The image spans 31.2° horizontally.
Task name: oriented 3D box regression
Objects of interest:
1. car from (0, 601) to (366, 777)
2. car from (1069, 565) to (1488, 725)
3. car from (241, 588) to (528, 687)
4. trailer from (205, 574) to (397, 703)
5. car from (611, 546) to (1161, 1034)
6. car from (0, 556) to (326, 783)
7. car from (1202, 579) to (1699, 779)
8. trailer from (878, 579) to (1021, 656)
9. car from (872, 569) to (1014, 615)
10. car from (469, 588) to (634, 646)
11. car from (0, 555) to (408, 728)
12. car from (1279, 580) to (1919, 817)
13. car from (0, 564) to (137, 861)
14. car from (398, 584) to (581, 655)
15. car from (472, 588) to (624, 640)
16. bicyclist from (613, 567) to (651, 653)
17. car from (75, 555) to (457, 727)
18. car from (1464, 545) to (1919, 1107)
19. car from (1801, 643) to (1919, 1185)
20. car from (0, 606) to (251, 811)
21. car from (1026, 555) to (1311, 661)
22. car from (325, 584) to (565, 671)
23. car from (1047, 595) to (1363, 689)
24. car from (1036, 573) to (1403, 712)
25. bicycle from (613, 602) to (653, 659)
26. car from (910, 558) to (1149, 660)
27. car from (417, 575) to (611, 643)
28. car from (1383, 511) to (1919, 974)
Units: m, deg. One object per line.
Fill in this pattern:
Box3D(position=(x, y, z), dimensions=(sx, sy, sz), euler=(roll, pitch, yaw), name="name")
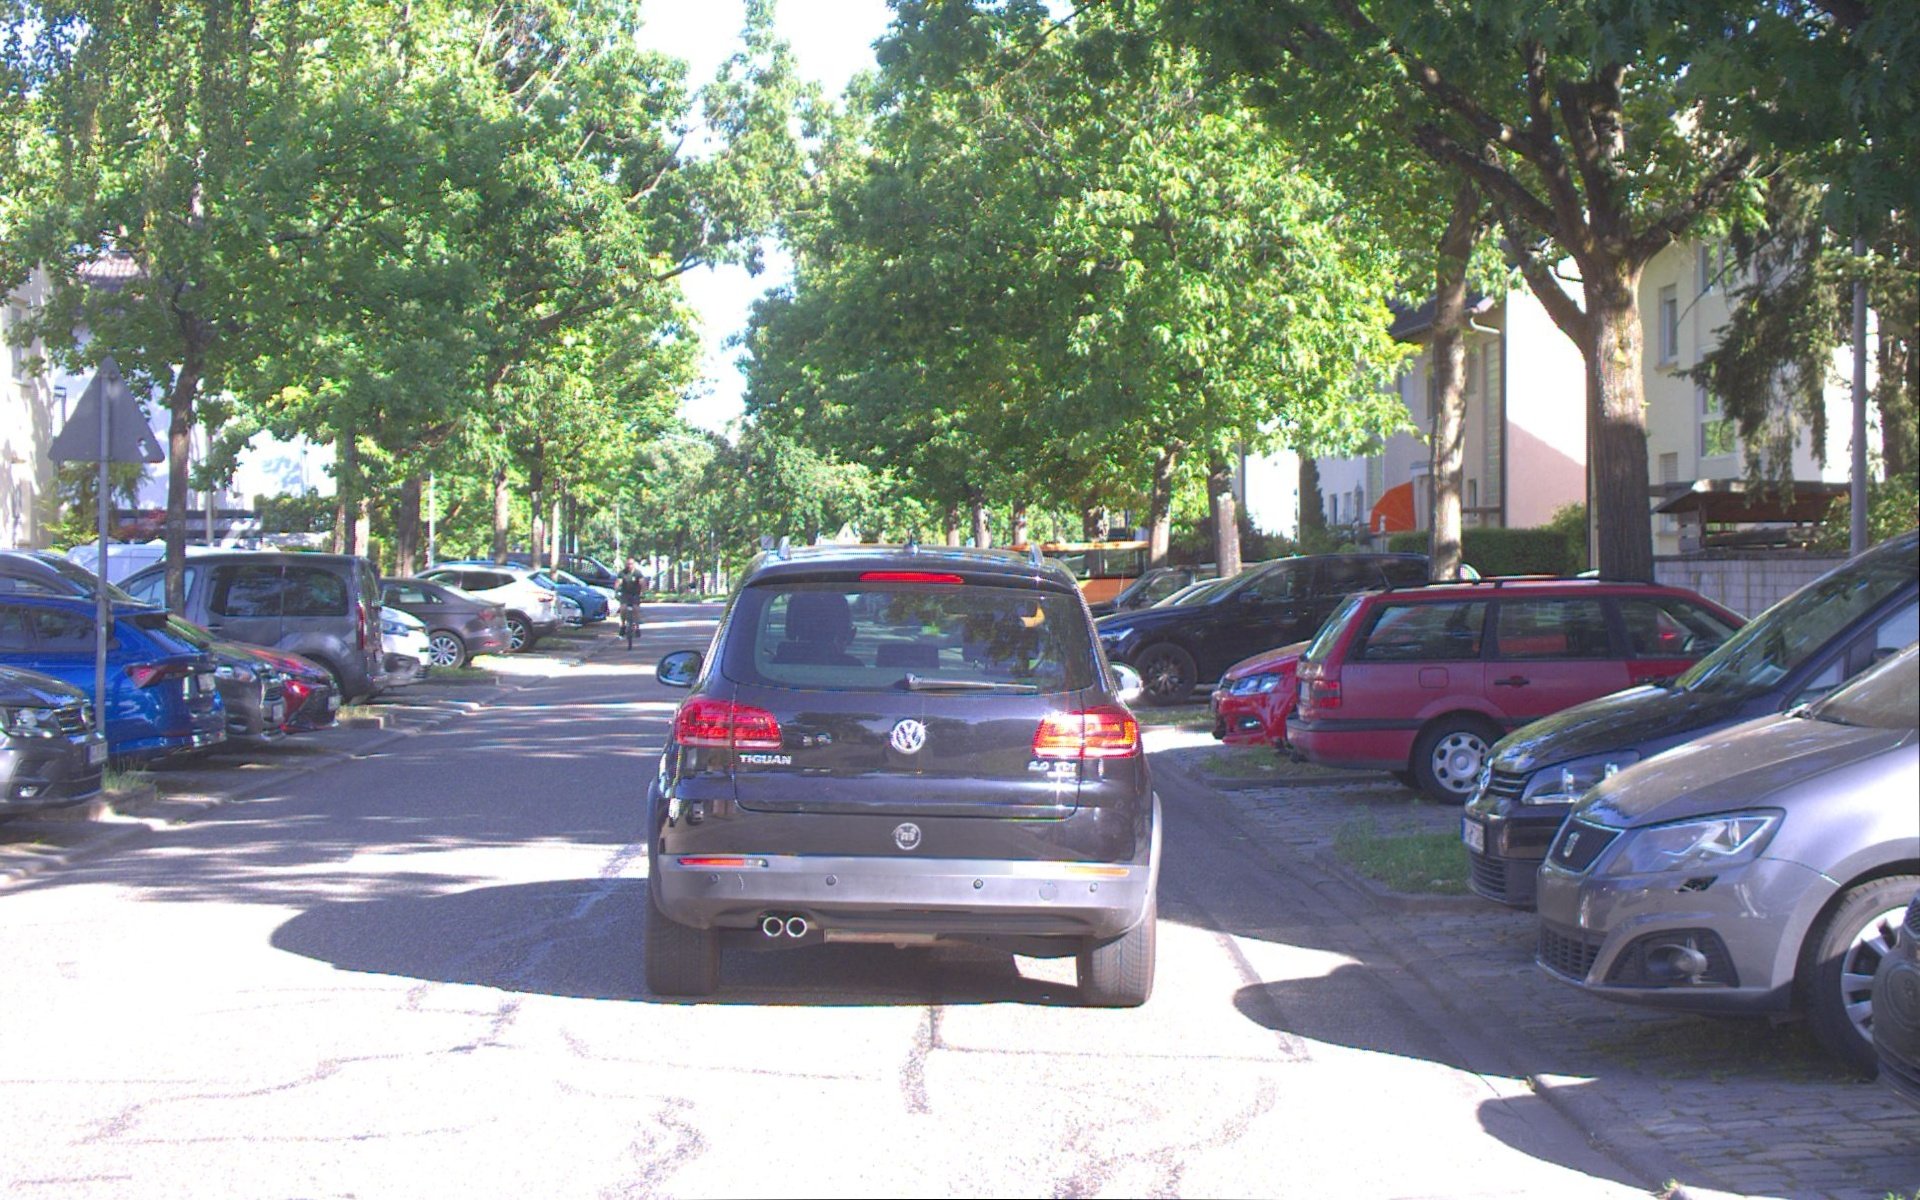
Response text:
Box3D(position=(-7.691, 0.782, 30.930), dimensions=(4.476, 1.494, 1.837), euler=(-1, 0, -5), name="car")
Box3D(position=(3.637, 0.502, 39.793), dimensions=(4.573, 1.641, 1.838), euler=(-2, 1, -2), name="car")
Box3D(position=(-8.841, 0.568, 53.072), dimensions=(4.210, 1.466, 1.691), euler=(0, 0, -3), name="car")
Box3D(position=(-8.762, 0.499, 45.805), dimensions=(2.236, 1.668, 1.474), euler=(0, 1, 2), name="trailer")
Box3D(position=(-0.298, 0.632, 13.547), dimensions=(1.838, 1.631, 3.958), euler=(0, 0, -1), name="car")
Box3D(position=(-7.734, 0.526, 28.409), dimensions=(4.673, 1.762, 1.795), euler=(1, 1, -3), name="car")
Box3D(position=(3.980, 0.641, 28.327), dimensions=(3.777, 1.479, 1.755), euler=(-2, -1, -1), name="car")
Box3D(position=(-0.241, 0.381, 75.881), dimensions=(2.945, 1.658, 1.615), euler=(0, 0, -9), name="trailer")
Box3D(position=(-0.546, -0.263, 109.070), dimensions=(4.345, 1.358, 1.874), euler=(-1, 0, -4), name="car")
Box3D(position=(-10.636, 0.435, 89.775), dimensions=(4.182, 1.487, 1.647), euler=(0, 0, -3), name="car")
Box3D(position=(-8.347, 0.439, 38.065), dimensions=(4.237, 1.764, 1.968), euler=(1, 1, -5), name="car")
Box3D(position=(4.551, 0.651, 23.553), dimensions=(4.502, 1.441, 1.838), euler=(-2, -1, -1), name="car")
Box3D(position=(-7.296, 0.653, 20.815), dimensions=(4.210, 1.718, 1.761), euler=(0, 0, 0), name="car")
Box3D(position=(-10.679, 0.428, 78.281), dimensions=(3.986, 1.590, 1.858), euler=(0, 0, -3), name="car")
Box3D(position=(-11.901, 0.406, 99.580), dimensions=(4.275, 1.473, 1.769), euler=(0, 0, -4), name="car")
Box3D(position=(-6.474, 0.194, 67.835), dimensions=(0.596, 1.668, 0.975), euler=(-3, 0, -2), name="bicyclist")
Box3D(position=(-8.177, 0.475, 40.807), dimensions=(4.235, 1.937, 2.000), euler=(-1, 0, -5), name="car")
Box3D(position=(4.131, 0.633, 11.487), dimensions=(4.502, 1.674, 1.879), euler=(-2, 0, -3), name="car")
Box3D(position=(4.377, 0.743, 8.860), dimensions=(3.944, 1.357, 1.684), euler=(-2, 0, -1), name="car")
Box3D(position=(-7.575, 0.762, 25.482), dimensions=(4.271, 1.419, 1.724), euler=(1, 0, 0), name="car")
Box3D(position=(3.313, 0.113, 55.215), dimensions=(4.337, 1.555, 1.868), euler=(-2, 1, -4), name="car")
Box3D(position=(-9.480, 0.498, 63.506), dimensions=(4.187, 1.561, 1.792), euler=(0, 0, -1), name="car")
Box3D(position=(3.526, 0.596, 49.965), dimensions=(4.427, 1.327, 1.691), euler=(0, 0, -1), name="car")
Box3D(position=(3.189, 0.507, 42.832), dimensions=(4.319, 1.524, 1.841), euler=(-2, 1, -3), name="car")
Box3D(position=(-6.452, 0.595, 67.873), dimensions=(0.596, 1.055, 1.986), euler=(-3, 1, -2), name="bicycle")
Box3D(position=(1.407, 0.186, 71.304), dimensions=(4.818, 2.076, 2.086), euler=(0, 0, -3), name="car")
Box3D(position=(-10.758, 0.204, 83.217), dimensions=(4.523, 1.625, 1.938), euler=(0, 0, -3), name="car")
Box3D(position=(4.073, 0.537, 14.599), dimensions=(4.211, 1.776, 1.789), euler=(-2, -1, -3), name="car")
